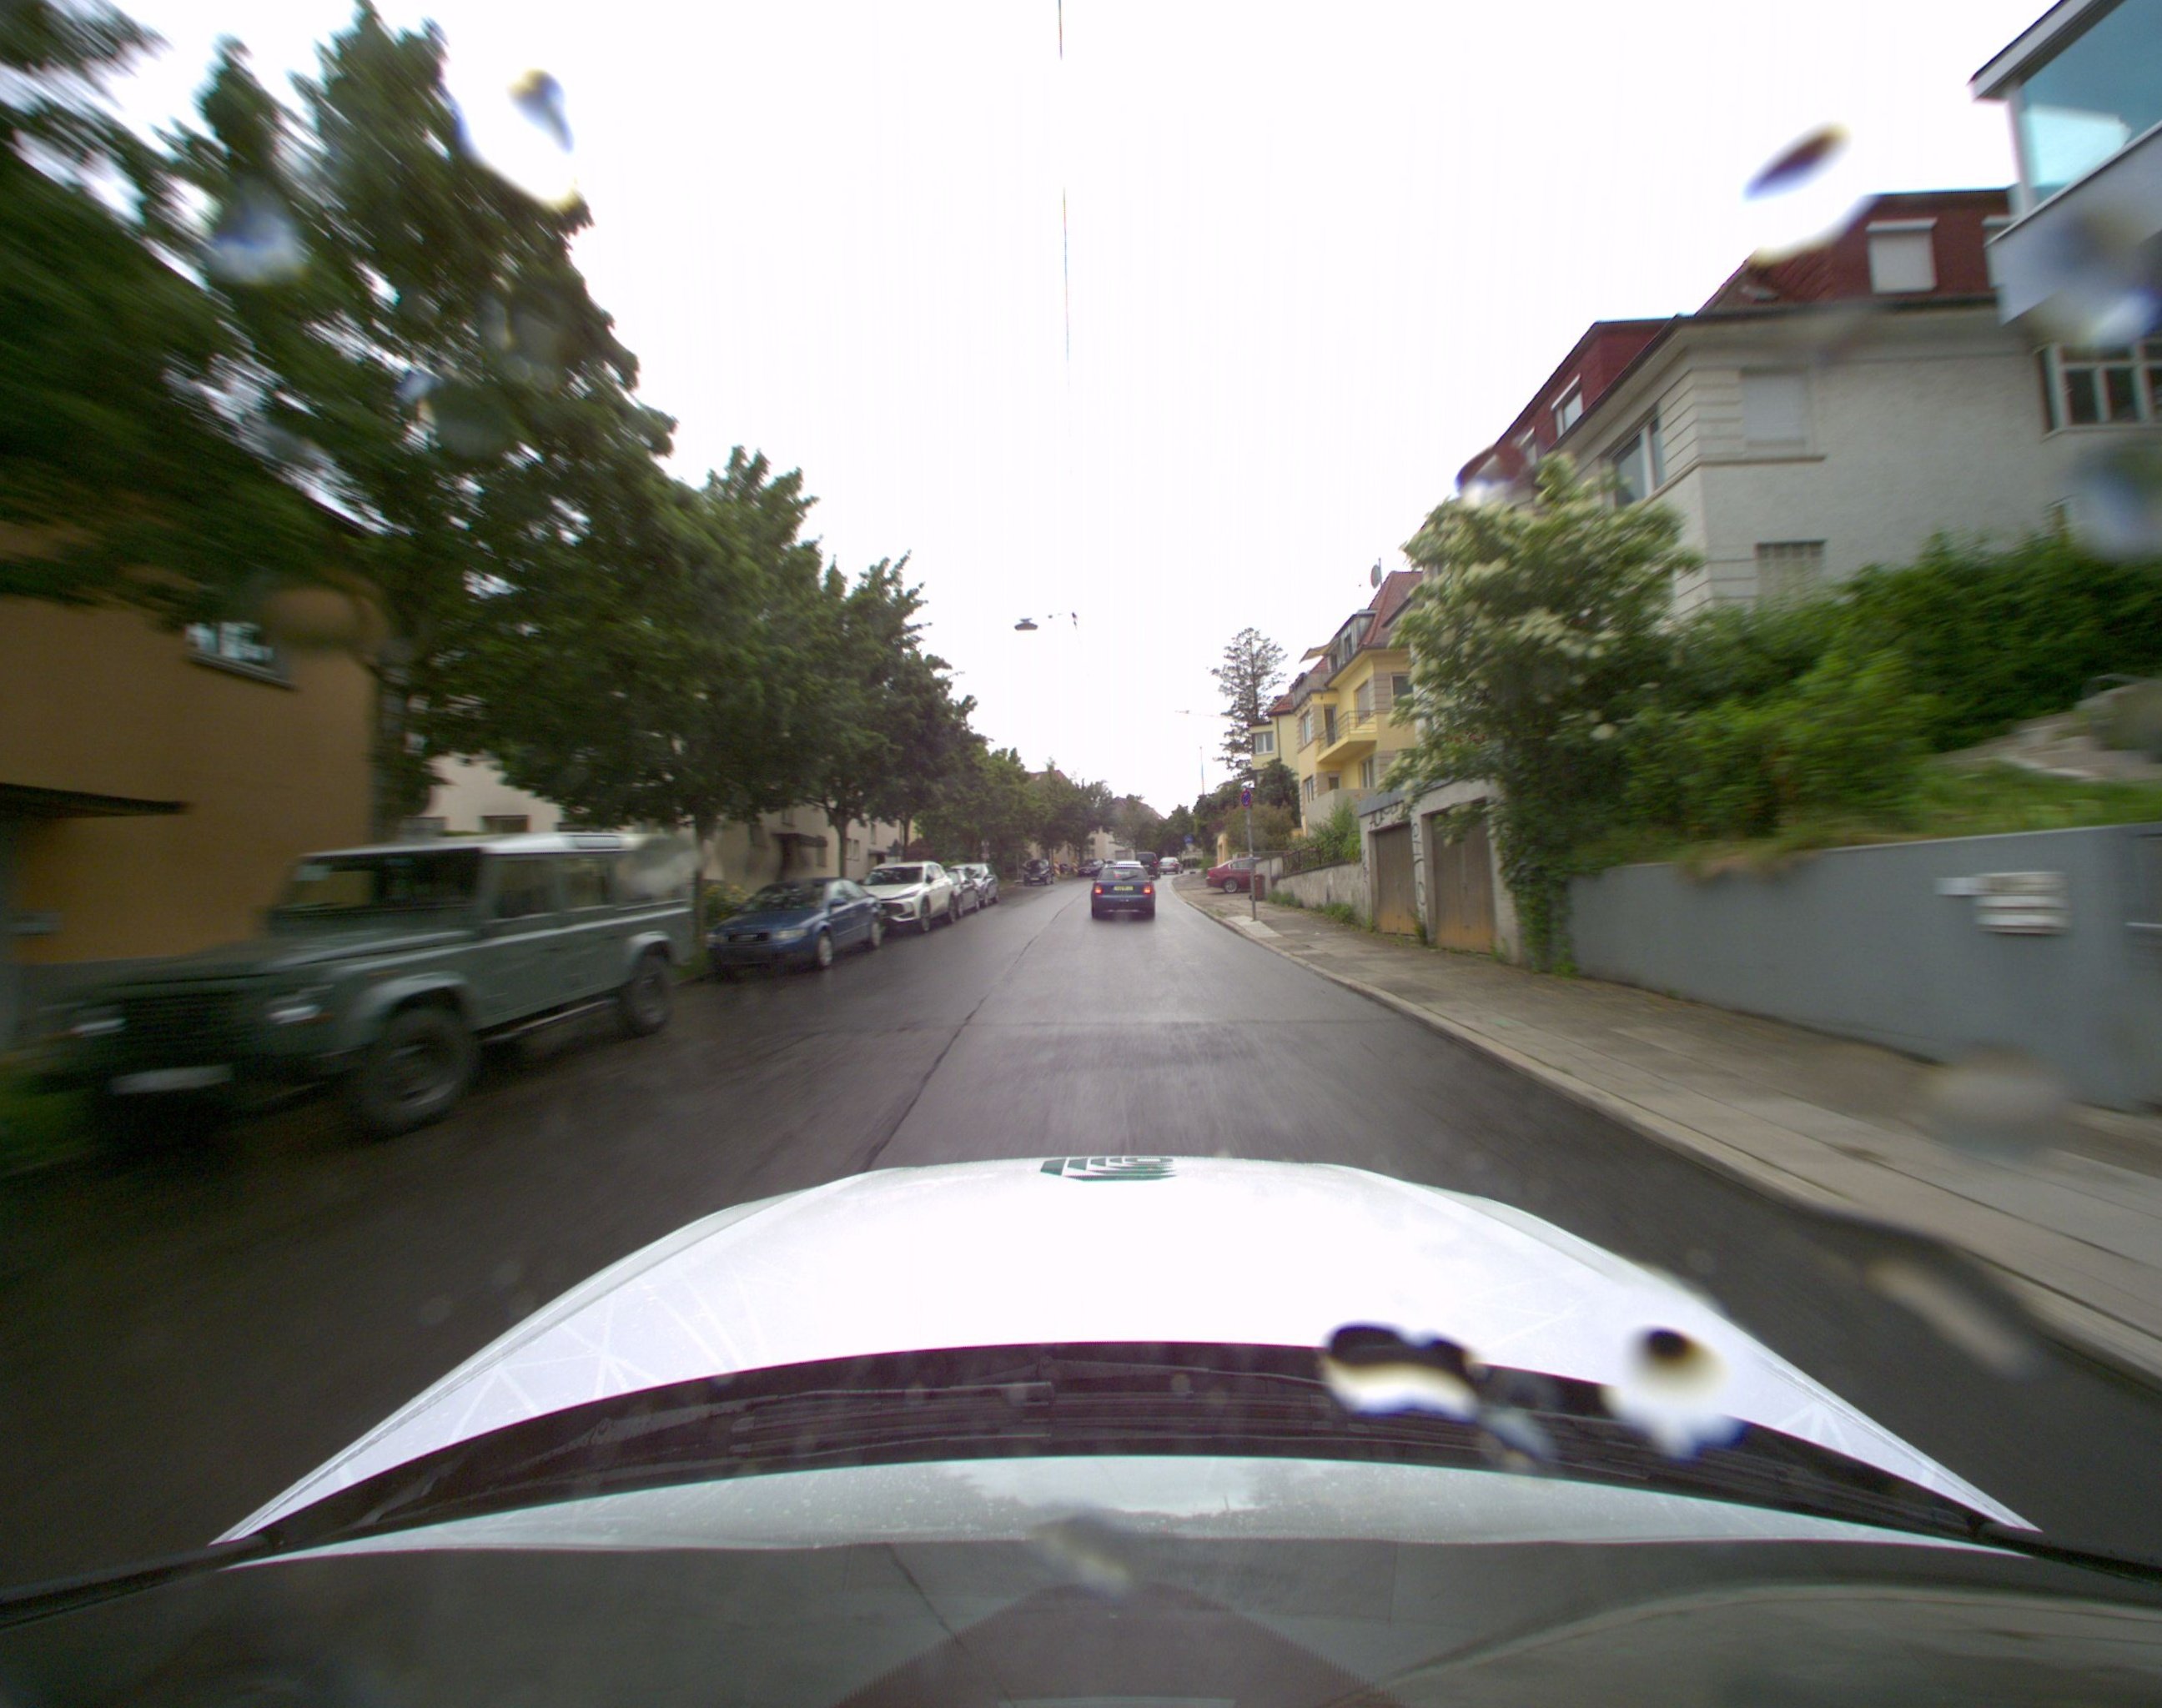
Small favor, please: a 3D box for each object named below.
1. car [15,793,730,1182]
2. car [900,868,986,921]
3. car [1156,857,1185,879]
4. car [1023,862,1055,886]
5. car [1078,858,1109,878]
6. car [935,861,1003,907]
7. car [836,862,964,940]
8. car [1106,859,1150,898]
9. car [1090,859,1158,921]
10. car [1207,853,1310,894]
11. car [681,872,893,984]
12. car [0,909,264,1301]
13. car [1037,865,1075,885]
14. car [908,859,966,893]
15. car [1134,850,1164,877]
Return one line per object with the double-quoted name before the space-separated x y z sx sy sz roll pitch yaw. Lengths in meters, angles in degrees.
"car" -4.998 0.737 6.961 1.786 2.049 4.781 -4 0 0
"car" -4.236 1.215 25.617 1.761 1.473 4.010 -2 -1 3
"car" 7.834 1.210 70.809 1.720 1.768 4.254 1 1 17
"car" -2.565 1.229 50.291 1.468 1.295 3.225 1 1 5
"car" 1.073 1.155 67.060 1.722 1.466 4.014 1 1 12
"car" -4.161 1.104 30.821 1.761 1.539 4.010 -3 -1 3
"car" -4.322 1.075 20.199 1.760 1.627 4.695 -3 -1 4
"car" 2.317 1.108 39.149 1.966 1.635 4.241 1 1 5
"car" 1.211 0.942 23.073 1.726 1.466 4.003 1 1 3
"car" 7.266 0.795 33.605 3.966 1.466 1.742 -3 0 6
"car" -4.768 1.117 14.049 1.761 1.387 4.636 -3 0 2
"car" -5.012 1.011 1.930 1.763 1.436 4.345 -3 -1 -1
"car" -2.469 2.055 79.879 3.184 1.372 1.487 -8 0 19
"car" -9.153 1.391 51.939 3.196 1.740 1.481 -7 0 4
"car" 4.854 0.658 57.490 1.723 1.768 4.247 1 1 10
